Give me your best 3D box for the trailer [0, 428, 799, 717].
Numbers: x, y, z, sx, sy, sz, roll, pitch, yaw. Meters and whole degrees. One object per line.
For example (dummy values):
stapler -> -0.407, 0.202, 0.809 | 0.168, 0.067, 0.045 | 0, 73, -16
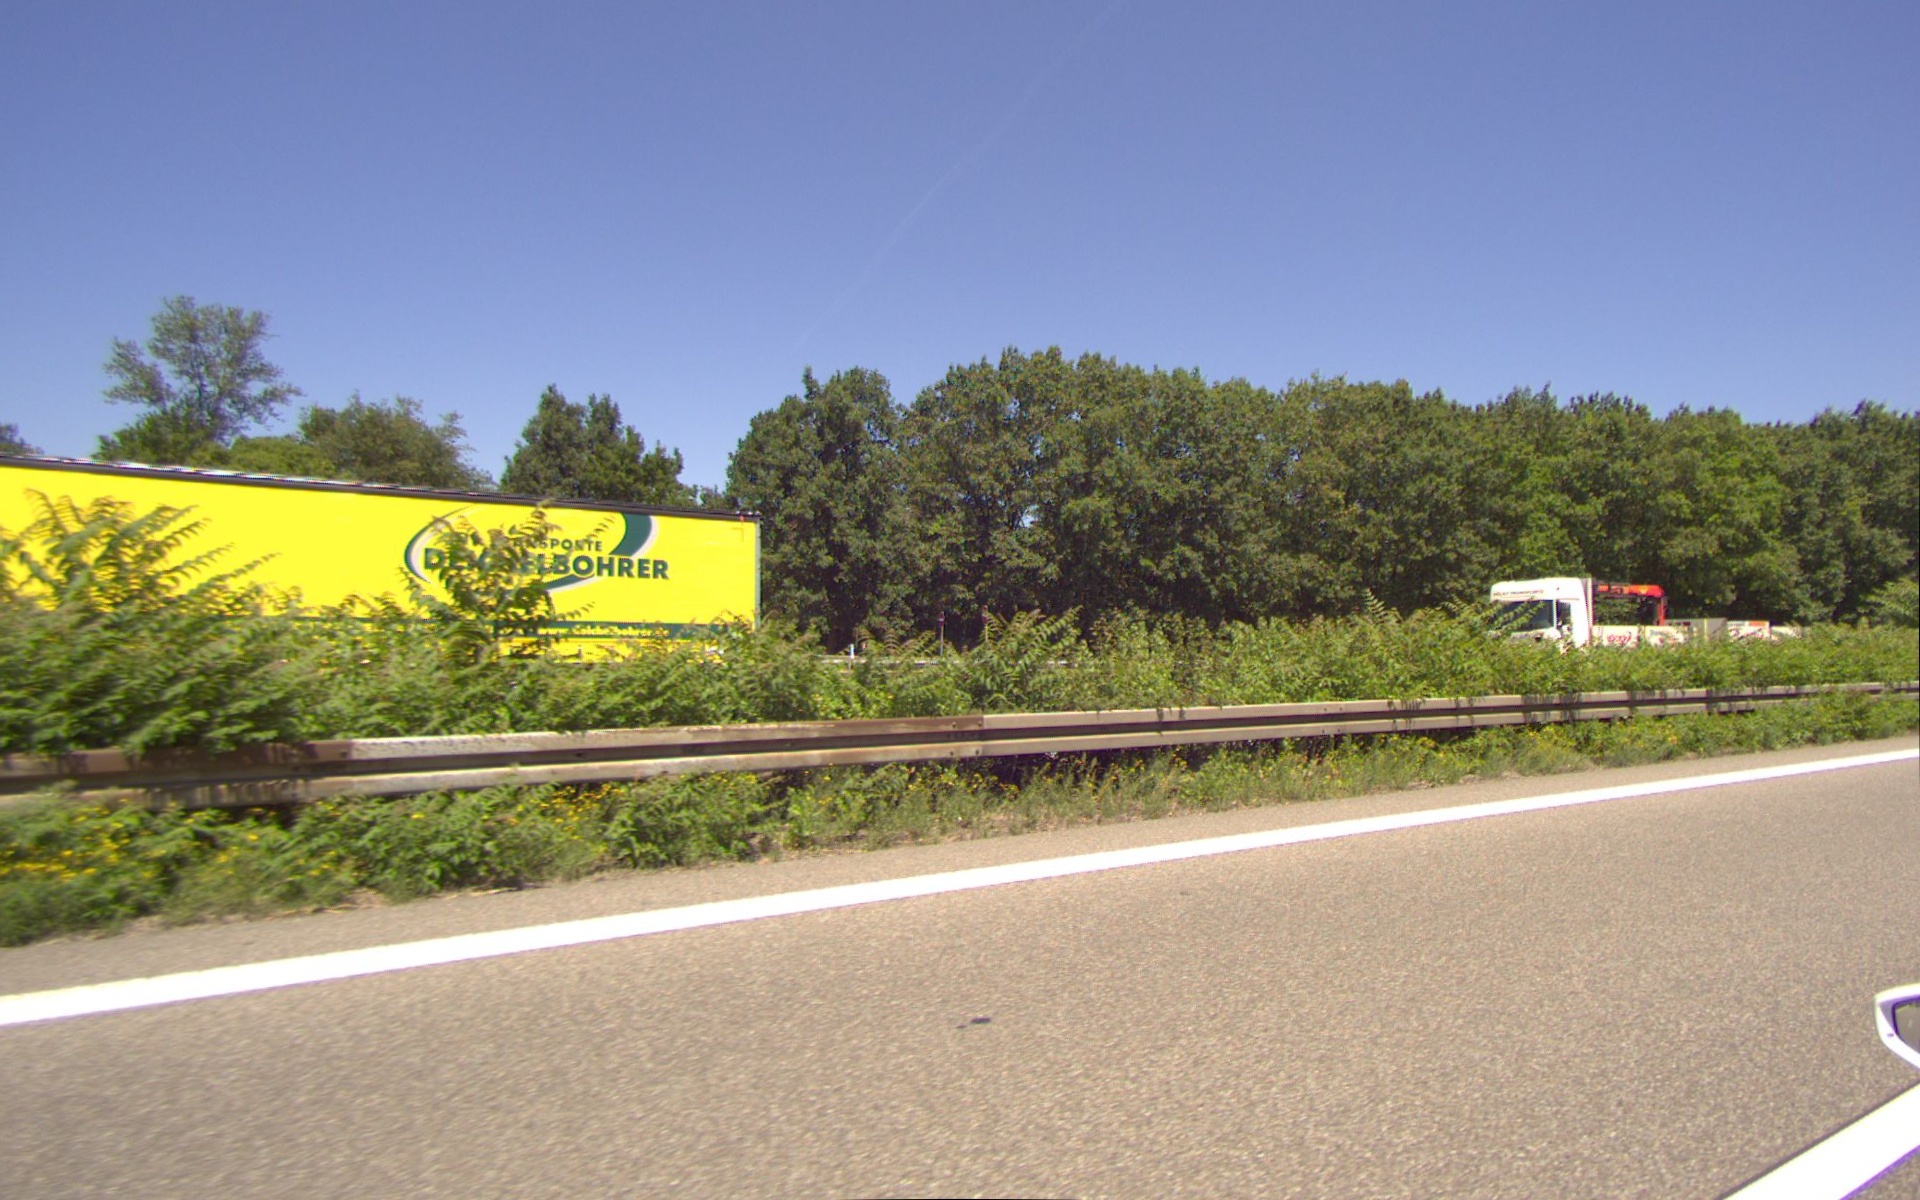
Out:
trailer -> -9.869, -0.258, 17.119 | 13.862, 3.876, 3.181 | 2, 0, -31

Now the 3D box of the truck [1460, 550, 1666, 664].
truck -> 21.109, 0.302, 35.081 | 6.914, 3.627, 3.183 | 2, 0, -30

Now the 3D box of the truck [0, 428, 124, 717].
truck -> -15.750, -0.452, 13.559 | 6.322, 3.876, 3.182 | 2, 0, -31

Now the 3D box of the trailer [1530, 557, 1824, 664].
trailer -> 28.520, 0.545, 39.420 | 15.781, 3.627, 3.182 | 2, 0, -30
